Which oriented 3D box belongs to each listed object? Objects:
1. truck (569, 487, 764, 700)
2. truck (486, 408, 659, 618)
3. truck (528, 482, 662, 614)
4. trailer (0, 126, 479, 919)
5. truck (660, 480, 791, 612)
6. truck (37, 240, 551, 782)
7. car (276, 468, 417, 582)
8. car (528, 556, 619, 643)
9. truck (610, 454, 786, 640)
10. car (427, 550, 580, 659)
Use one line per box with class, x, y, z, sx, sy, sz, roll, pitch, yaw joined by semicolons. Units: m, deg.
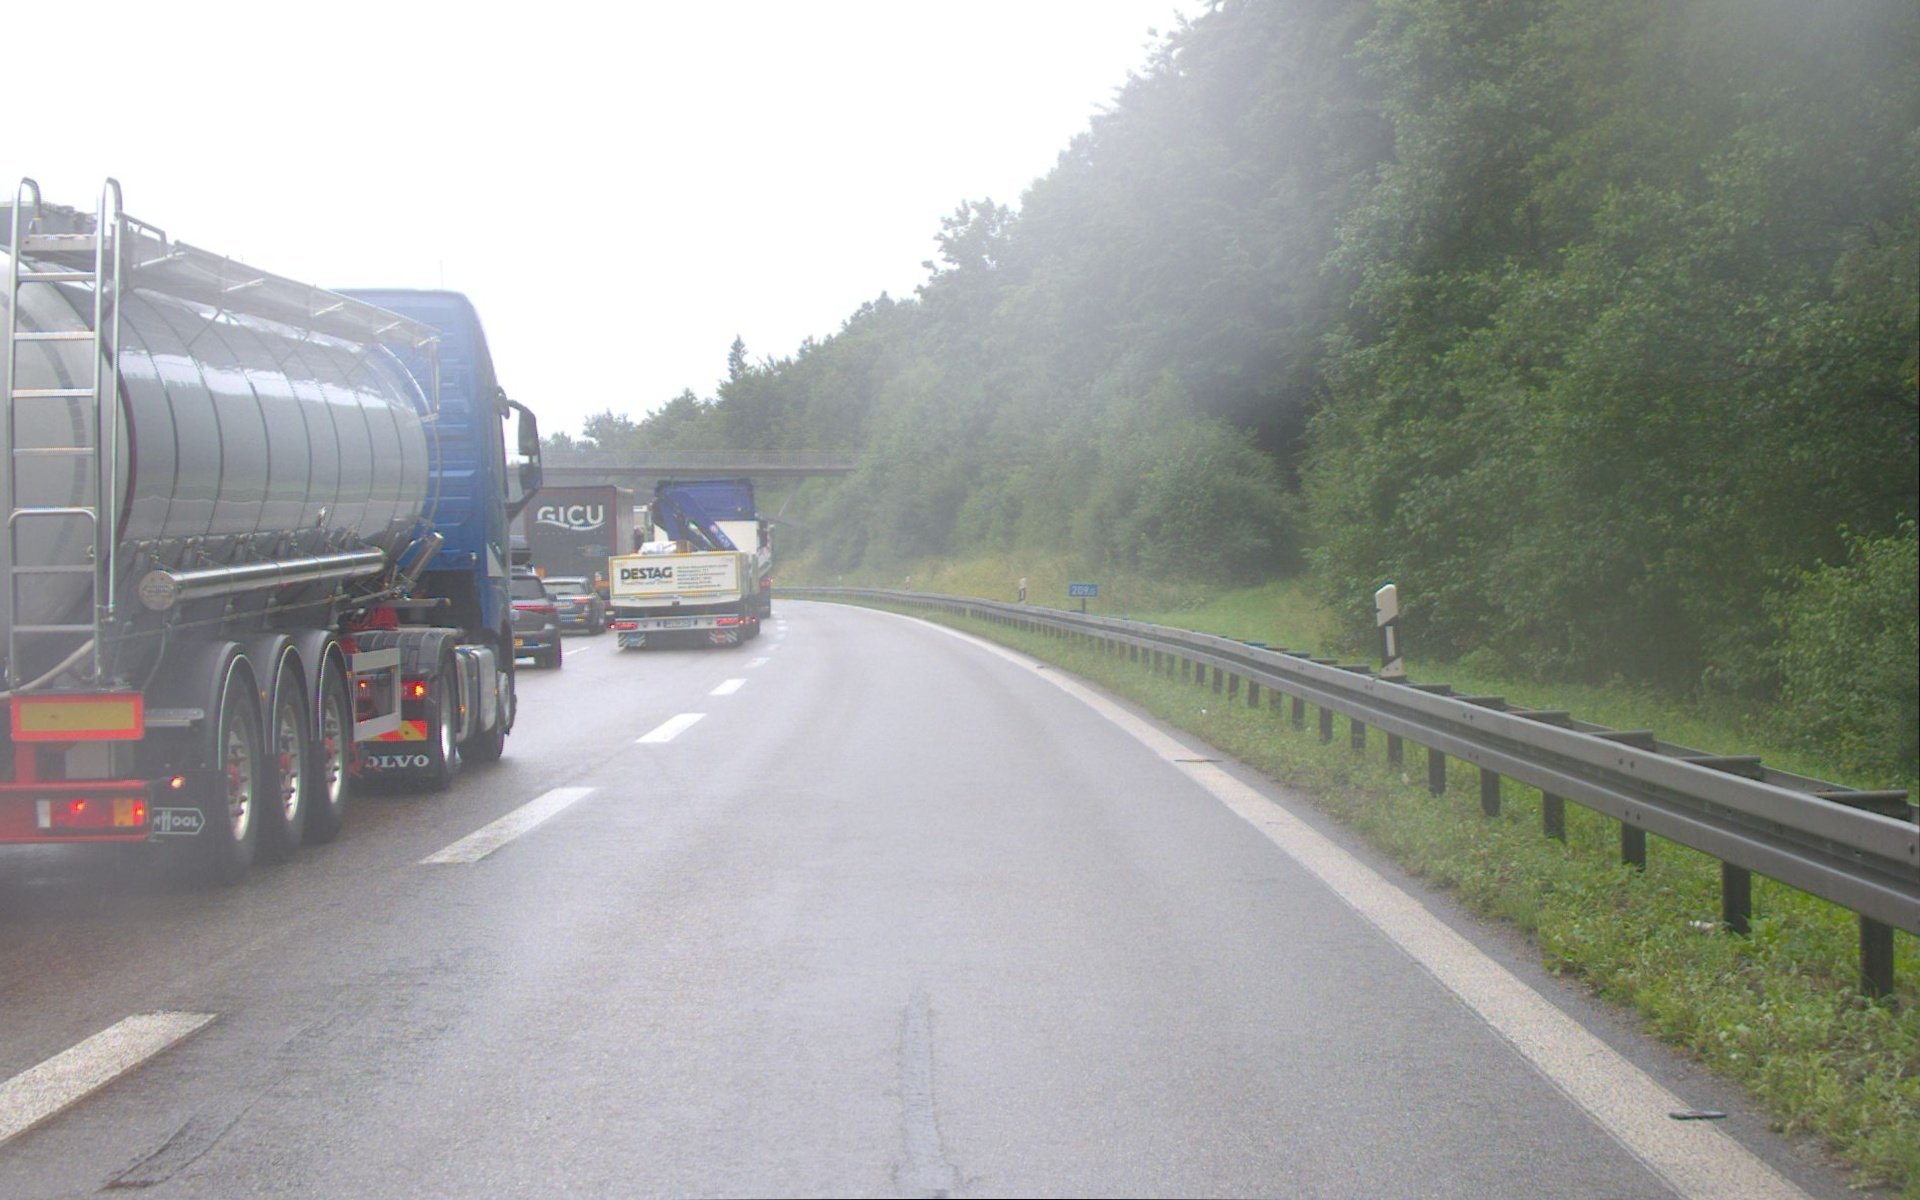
truck;-6.038;-0.195;72.652;3.599;4.091;11.561;-1;1;-3
truck;-11.168;-2.373;100.162;3.754;5.480;10.172;3;-1;-1
truck;-12.337;-1.673;117.171;3.576;4.082;10.879;0;-1;-1
trailer;-4.839;-0.365;19.290;2.873;3.277;10.078;-1;1;0
truck;-7.893;-1.732;117.241;3.754;3.957;11.059;3;-1;-1
truck;-4.864;-0.635;26.076;2.877;3.681;5.056;-1;1;0
car;-11.104;-1.330;62.410;1.797;1.832;4.000;3;-1;-1
car;-9.680;0.006;86.303;1.793;2.007;4.000;3;-1;-1
truck;-6.623;-1.218;88.598;3.507;4.253;10.602;3;-1;0
car;-7.453;0.107;56.458;1.993;1.631;4.000;3;-1;-1
